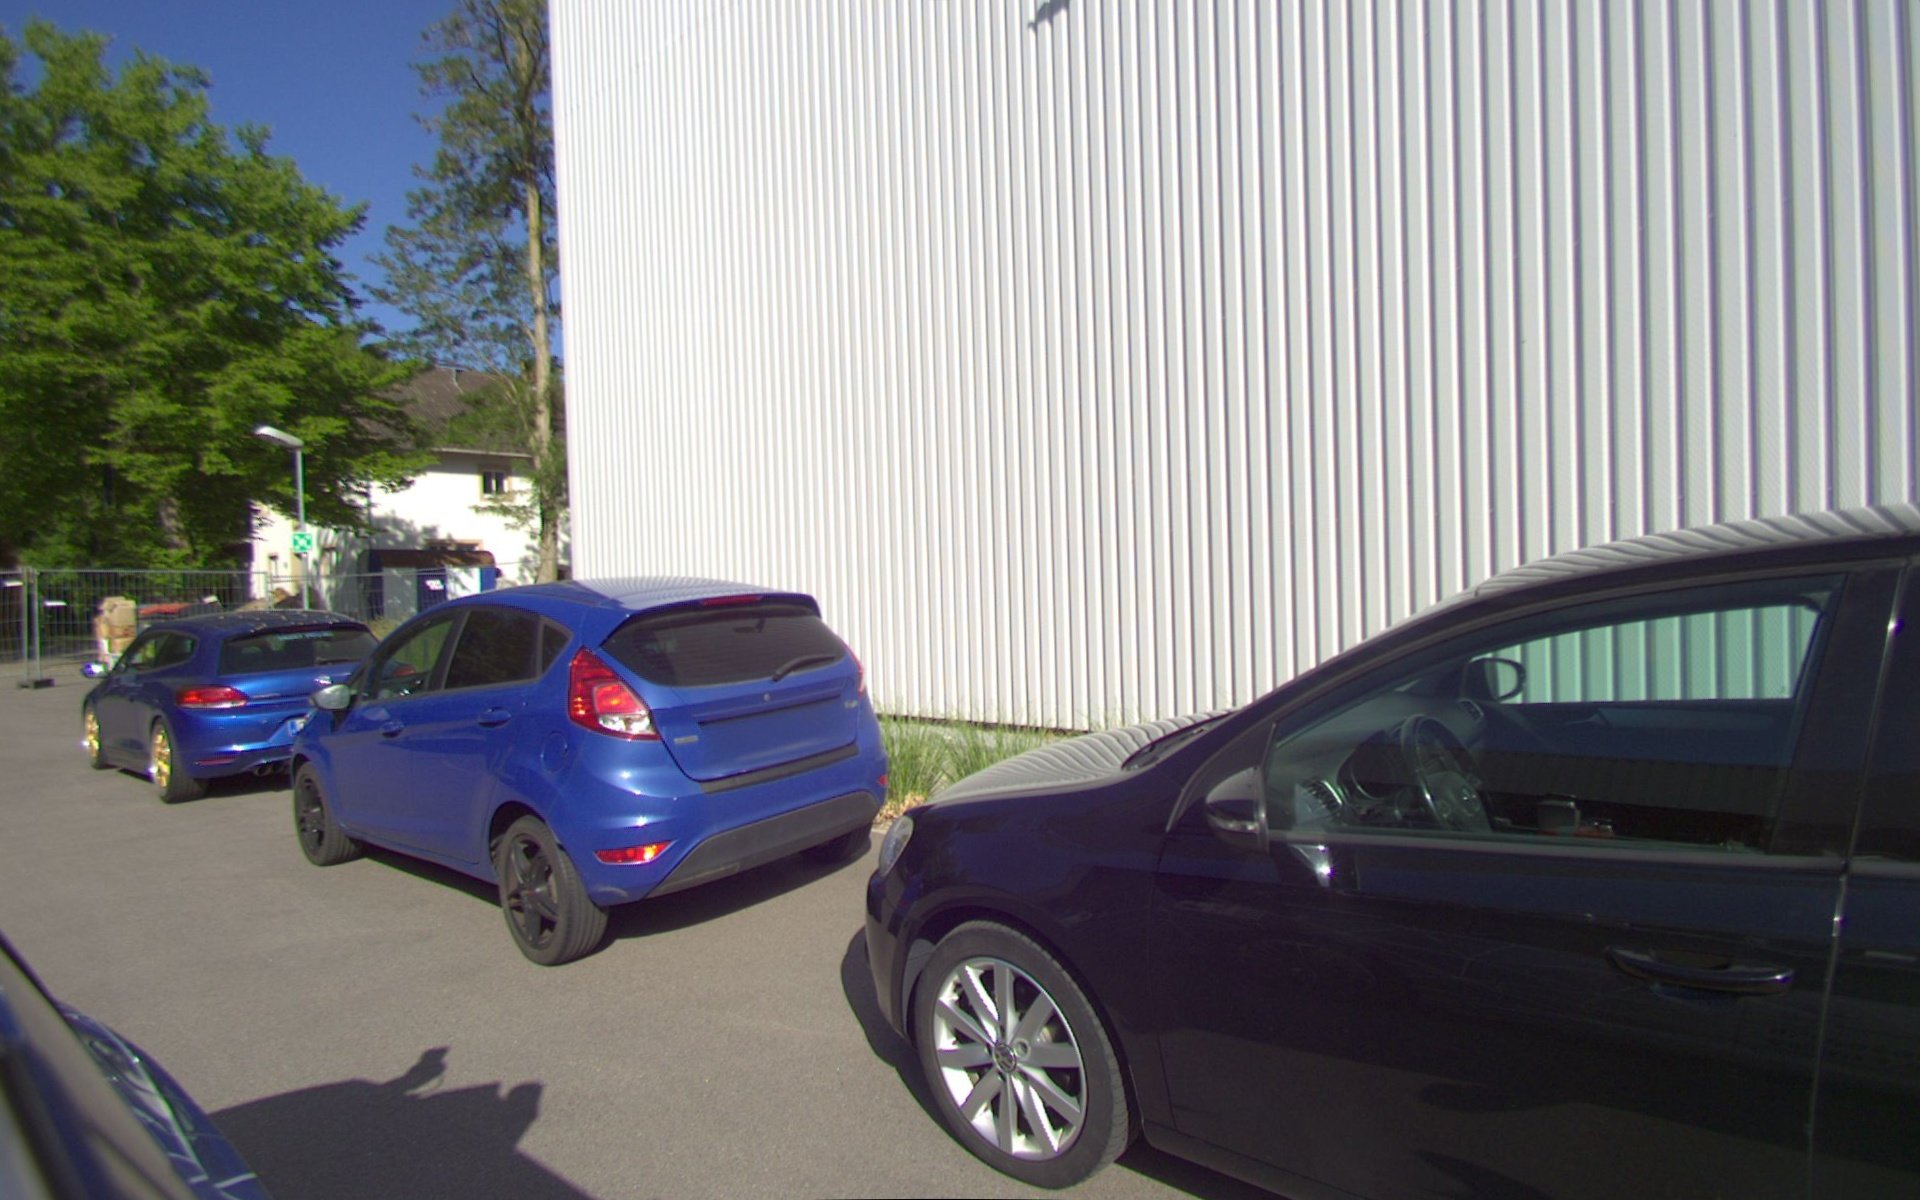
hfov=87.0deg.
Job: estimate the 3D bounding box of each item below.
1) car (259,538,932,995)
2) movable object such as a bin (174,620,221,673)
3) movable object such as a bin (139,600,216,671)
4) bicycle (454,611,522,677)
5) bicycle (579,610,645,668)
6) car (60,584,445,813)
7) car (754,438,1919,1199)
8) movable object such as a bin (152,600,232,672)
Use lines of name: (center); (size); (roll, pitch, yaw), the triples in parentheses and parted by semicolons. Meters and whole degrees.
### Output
car: (-1.995, 0.566, 5.066); (3.519, 1.499, 1.533); (-2, 2, 40)
movable object such as a bin: (-15.325, 0.935, 20.338); (0.678, 1.031, 0.707); (0, -2, -43)
movable object such as a bin: (-17.126, 0.773, 22.154); (1.279, 1.489, 1.126); (-3, -2, 42)
bicycle: (-8.257, 0.755, 17.664); (1.705, 1.094, 0.388); (-1, -1, 40)
bicycle: (-6.840, 0.748, 19.843); (1.705, 1.094, 0.388); (-1, -1, 40)
car: (-6.162, 0.706, 8.666); (3.794, 1.459, 1.694); (-2, 2, 40)
car: (1.650, 0.468, 2.034); (4.313, 1.456, 1.738); (-2, 3, 42)
movable object such as a bin: (-16.115, 0.745, 21.240); (1.288, 1.445, 1.126); (-2, -1, 42)
